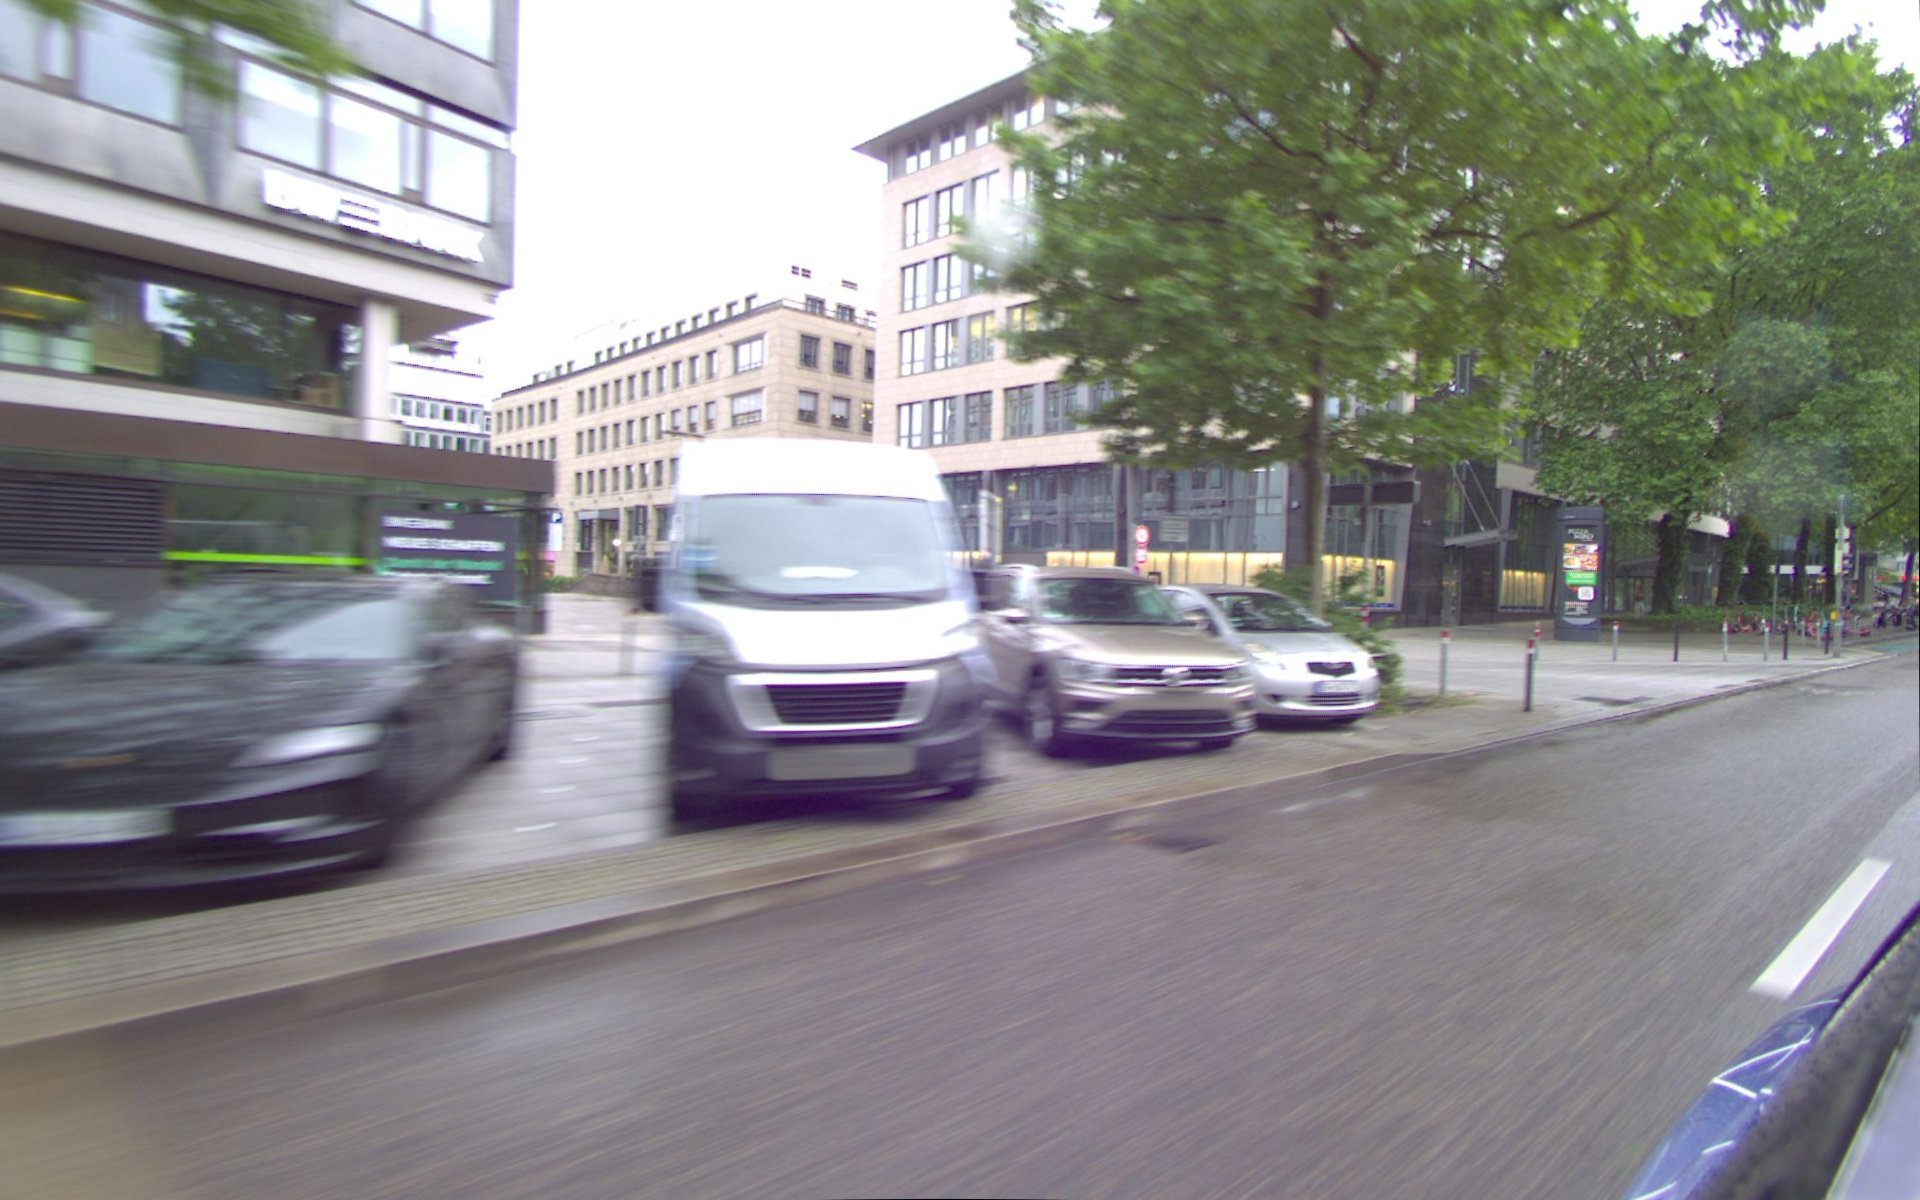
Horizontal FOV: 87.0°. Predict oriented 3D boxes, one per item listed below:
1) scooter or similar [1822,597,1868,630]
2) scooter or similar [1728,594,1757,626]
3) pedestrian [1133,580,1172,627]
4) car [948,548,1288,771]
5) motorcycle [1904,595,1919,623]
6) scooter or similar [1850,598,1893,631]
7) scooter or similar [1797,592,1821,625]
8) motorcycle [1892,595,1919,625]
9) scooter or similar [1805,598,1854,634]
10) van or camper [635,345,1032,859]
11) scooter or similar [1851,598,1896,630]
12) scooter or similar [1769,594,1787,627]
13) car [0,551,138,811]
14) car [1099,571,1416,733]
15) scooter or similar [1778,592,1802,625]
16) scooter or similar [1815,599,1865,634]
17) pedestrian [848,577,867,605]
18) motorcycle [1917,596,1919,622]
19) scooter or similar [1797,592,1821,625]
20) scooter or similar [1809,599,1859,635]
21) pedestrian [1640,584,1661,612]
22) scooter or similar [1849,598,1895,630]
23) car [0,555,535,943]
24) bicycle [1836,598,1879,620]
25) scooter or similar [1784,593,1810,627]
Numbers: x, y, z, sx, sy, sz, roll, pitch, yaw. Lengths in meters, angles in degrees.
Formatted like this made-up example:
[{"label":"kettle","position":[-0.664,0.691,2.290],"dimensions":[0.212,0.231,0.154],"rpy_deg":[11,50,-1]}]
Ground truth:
[{"label":"scooter or similar","position":[35.731,0.534,40.873],"dimensions":[0.480,1.251,1.293],"rpy_deg":[2,1,-37]},{"label":"scooter or similar","position":[30.725,0.389,39.754],"dimensions":[0.483,1.212,1.286],"rpy_deg":[0,1,19]},{"label":"pedestrian","position":[7.799,0.132,40.943],"dimensions":[0.905,1.873,1.274],"rpy_deg":[-1,1,-43]},{"label":"car","position":[1.238,0.418,9.944],"dimensions":[1.780,1.688,4.279],"rpy_deg":[0,1,-14]},{"label":"motorcycle","position":[48.715,0.510,50.636],"dimensions":[1.945,1.391,0.721],"rpy_deg":[3,1,30]},{"label":"scooter or similar","position":[38.179,0.600,42.402],"dimensions":[1.288,1.294,0.529],"rpy_deg":[4,1,40]},{"label":"scooter or similar","position":[34.262,0.340,40.838],"dimensions":[1.270,1.275,0.489],"rpy_deg":[2,1,-40]},{"label":"motorcycle","position":[46.130,0.517,48.551],"dimensions":[1.949,1.391,0.720],"rpy_deg":[4,1,35]},{"label":"scooter or similar","position":[33.504,0.605,39.000],"dimensions":[0.479,1.275,1.296],"rpy_deg":[2,1,-28]},{"label":"van or camper","position":[-1.303,-0.063,8.295],"dimensions":[2.060,2.590,6.099],"rpy_deg":[0,1,-13]},{"label":"scooter or similar","position":[38.970,0.578,43.187],"dimensions":[0.527,1.294,1.294],"rpy_deg":[2,1,-35]},{"label":"scooter or similar","position":[31.293,0.406,38.697],"dimensions":[0.487,1.212,1.275],"rpy_deg":[1,2,41]},{"label":"car","position":[-6.001,0.468,4.749],"dimensions":[1.684,1.454,4.223],"rpy_deg":[0,1,-14]},{"label":"car","position":[3.248,0.471,11.812],"dimensions":[1.679,1.566,3.668],"rpy_deg":[0,1,-21]},{"label":"scooter or similar","position":[33.099,0.358,40.355],"dimensions":[1.270,1.275,0.489],"rpy_deg":[2,1,-40]},{"label":"scooter or similar","position":[33.339,0.619,38.370],"dimensions":[0.479,1.275,1.296],"rpy_deg":[2,1,-28]},{"label":"pedestrian","position":[-6.899,-0.589,68.309],"dimensions":[0.724,1.853,1.072],"rpy_deg":[1,0,37]},{"label":"motorcycle","position":[51.345,0.520,52.743],"dimensions":[1.945,1.391,0.721],"rpy_deg":[3,1,30]},{"label":"scooter or similar","position":[34.262,0.340,40.838],"dimensions":[1.270,1.275,0.489],"rpy_deg":[2,1,-40]},{"label":"scooter or similar","position":[32.832,0.630,38.042],"dimensions":[0.479,1.275,1.296],"rpy_deg":[2,1,-28]},{"label":"pedestrian","position":[43.782,-0.123,64.166],"dimensions":[0.813,1.714,0.729],"rpy_deg":[2,1,3]},{"label":"scooter or similar","position":[38.647,0.586,42.893],"dimensions":[0.527,1.294,1.294],"rpy_deg":[2,1,-35]},{"label":"car","position":[-3.906,0.500,5.974],"dimensions":[1.900,1.454,4.412],"rpy_deg":[0,1,-14]},{"label":"bicycle","position":[44.588,0.451,50.284],"dimensions":[1.727,1.040,0.640],"rpy_deg":[0,1,-11]},{"label":"scooter or similar","position":[32.190,0.395,38.923],"dimensions":[1.270,1.275,0.489],"rpy_deg":[2,1,-40]}]
